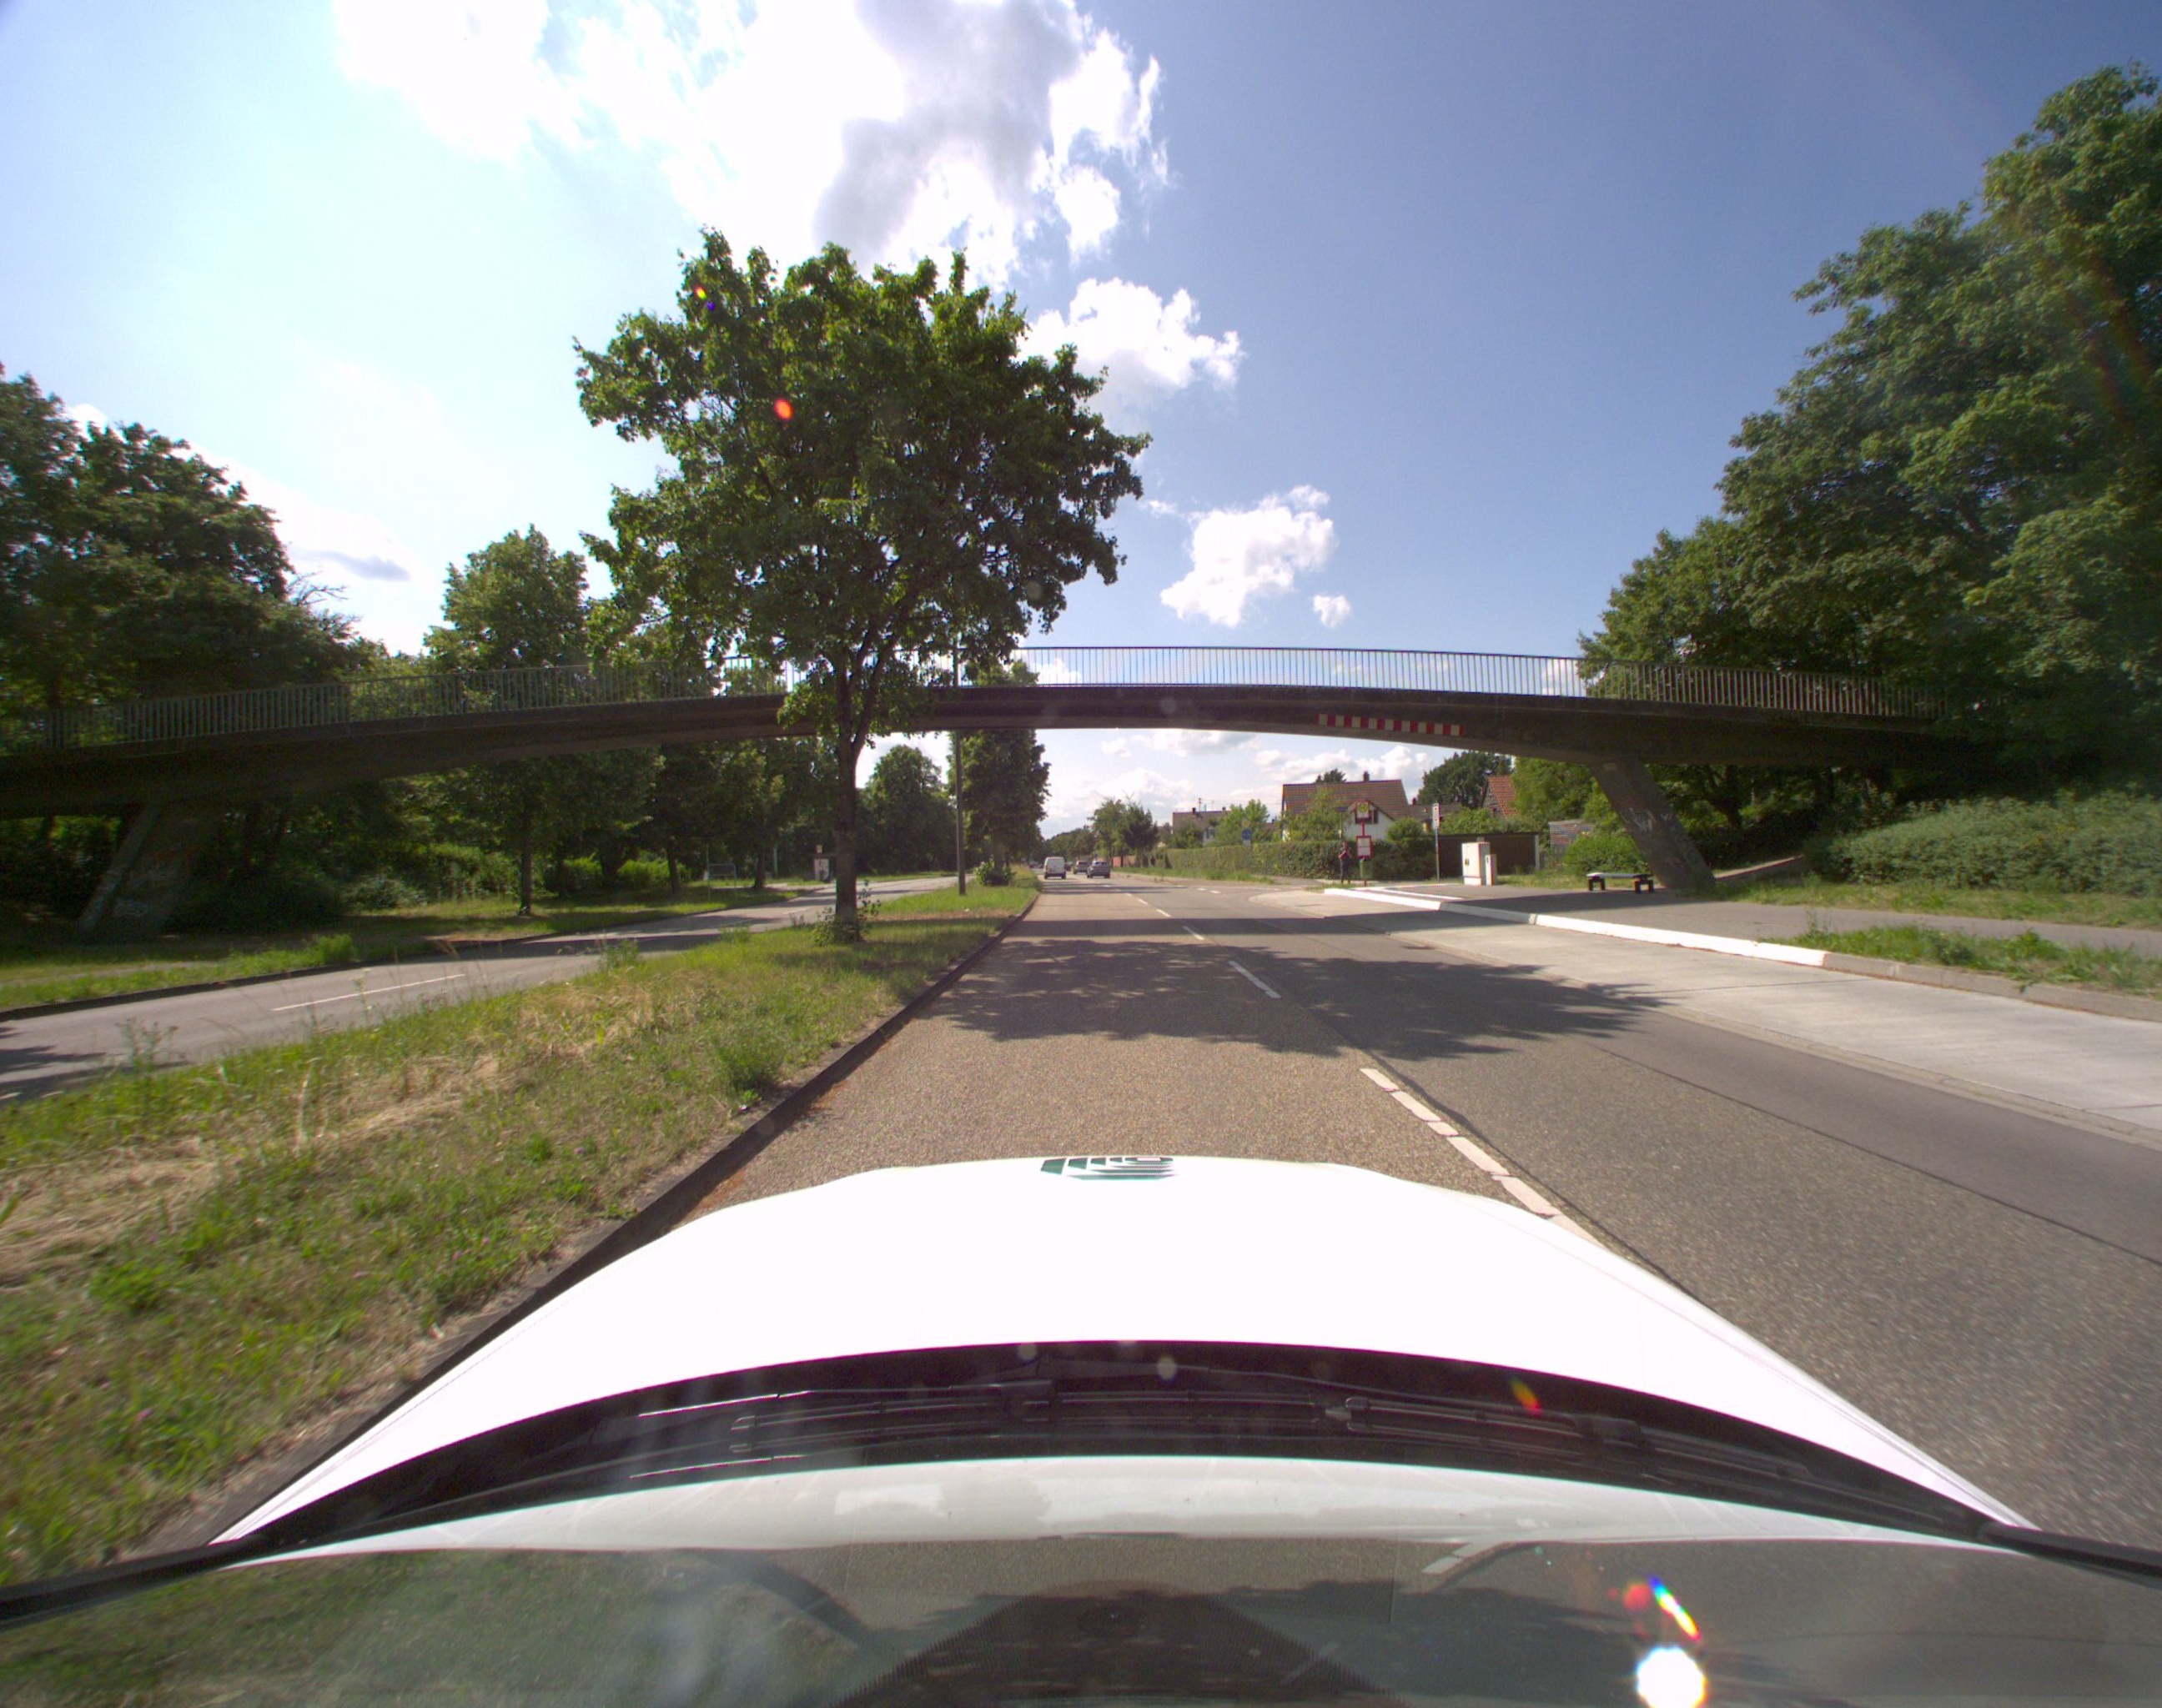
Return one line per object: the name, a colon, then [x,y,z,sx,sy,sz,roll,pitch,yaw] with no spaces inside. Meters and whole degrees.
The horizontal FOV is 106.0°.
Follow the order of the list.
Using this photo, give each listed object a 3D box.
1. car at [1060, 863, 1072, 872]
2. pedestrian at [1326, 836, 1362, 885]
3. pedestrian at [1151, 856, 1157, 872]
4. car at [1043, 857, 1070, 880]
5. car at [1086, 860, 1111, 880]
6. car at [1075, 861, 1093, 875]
car: [-2.531,2.260,137.014,1.876,1.587,3.994,-1,-1,-4]
pedestrian: [10.373,0.261,32.189,0.951,1.824,1.087,-3,-3,-1]
pedestrian: [7.900,1.114,88.217,0.559,1.677,0.633,-1,-1,-5]
car: [-2.144,1.219,69.314,2.062,1.912,4.639,-1,-1,-4]
car: [1.498,1.390,71.290,1.871,1.589,4.178,-1,-1,-4]
car: [0.292,1.719,98.377,1.871,1.652,3.994,-1,-1,-4]
